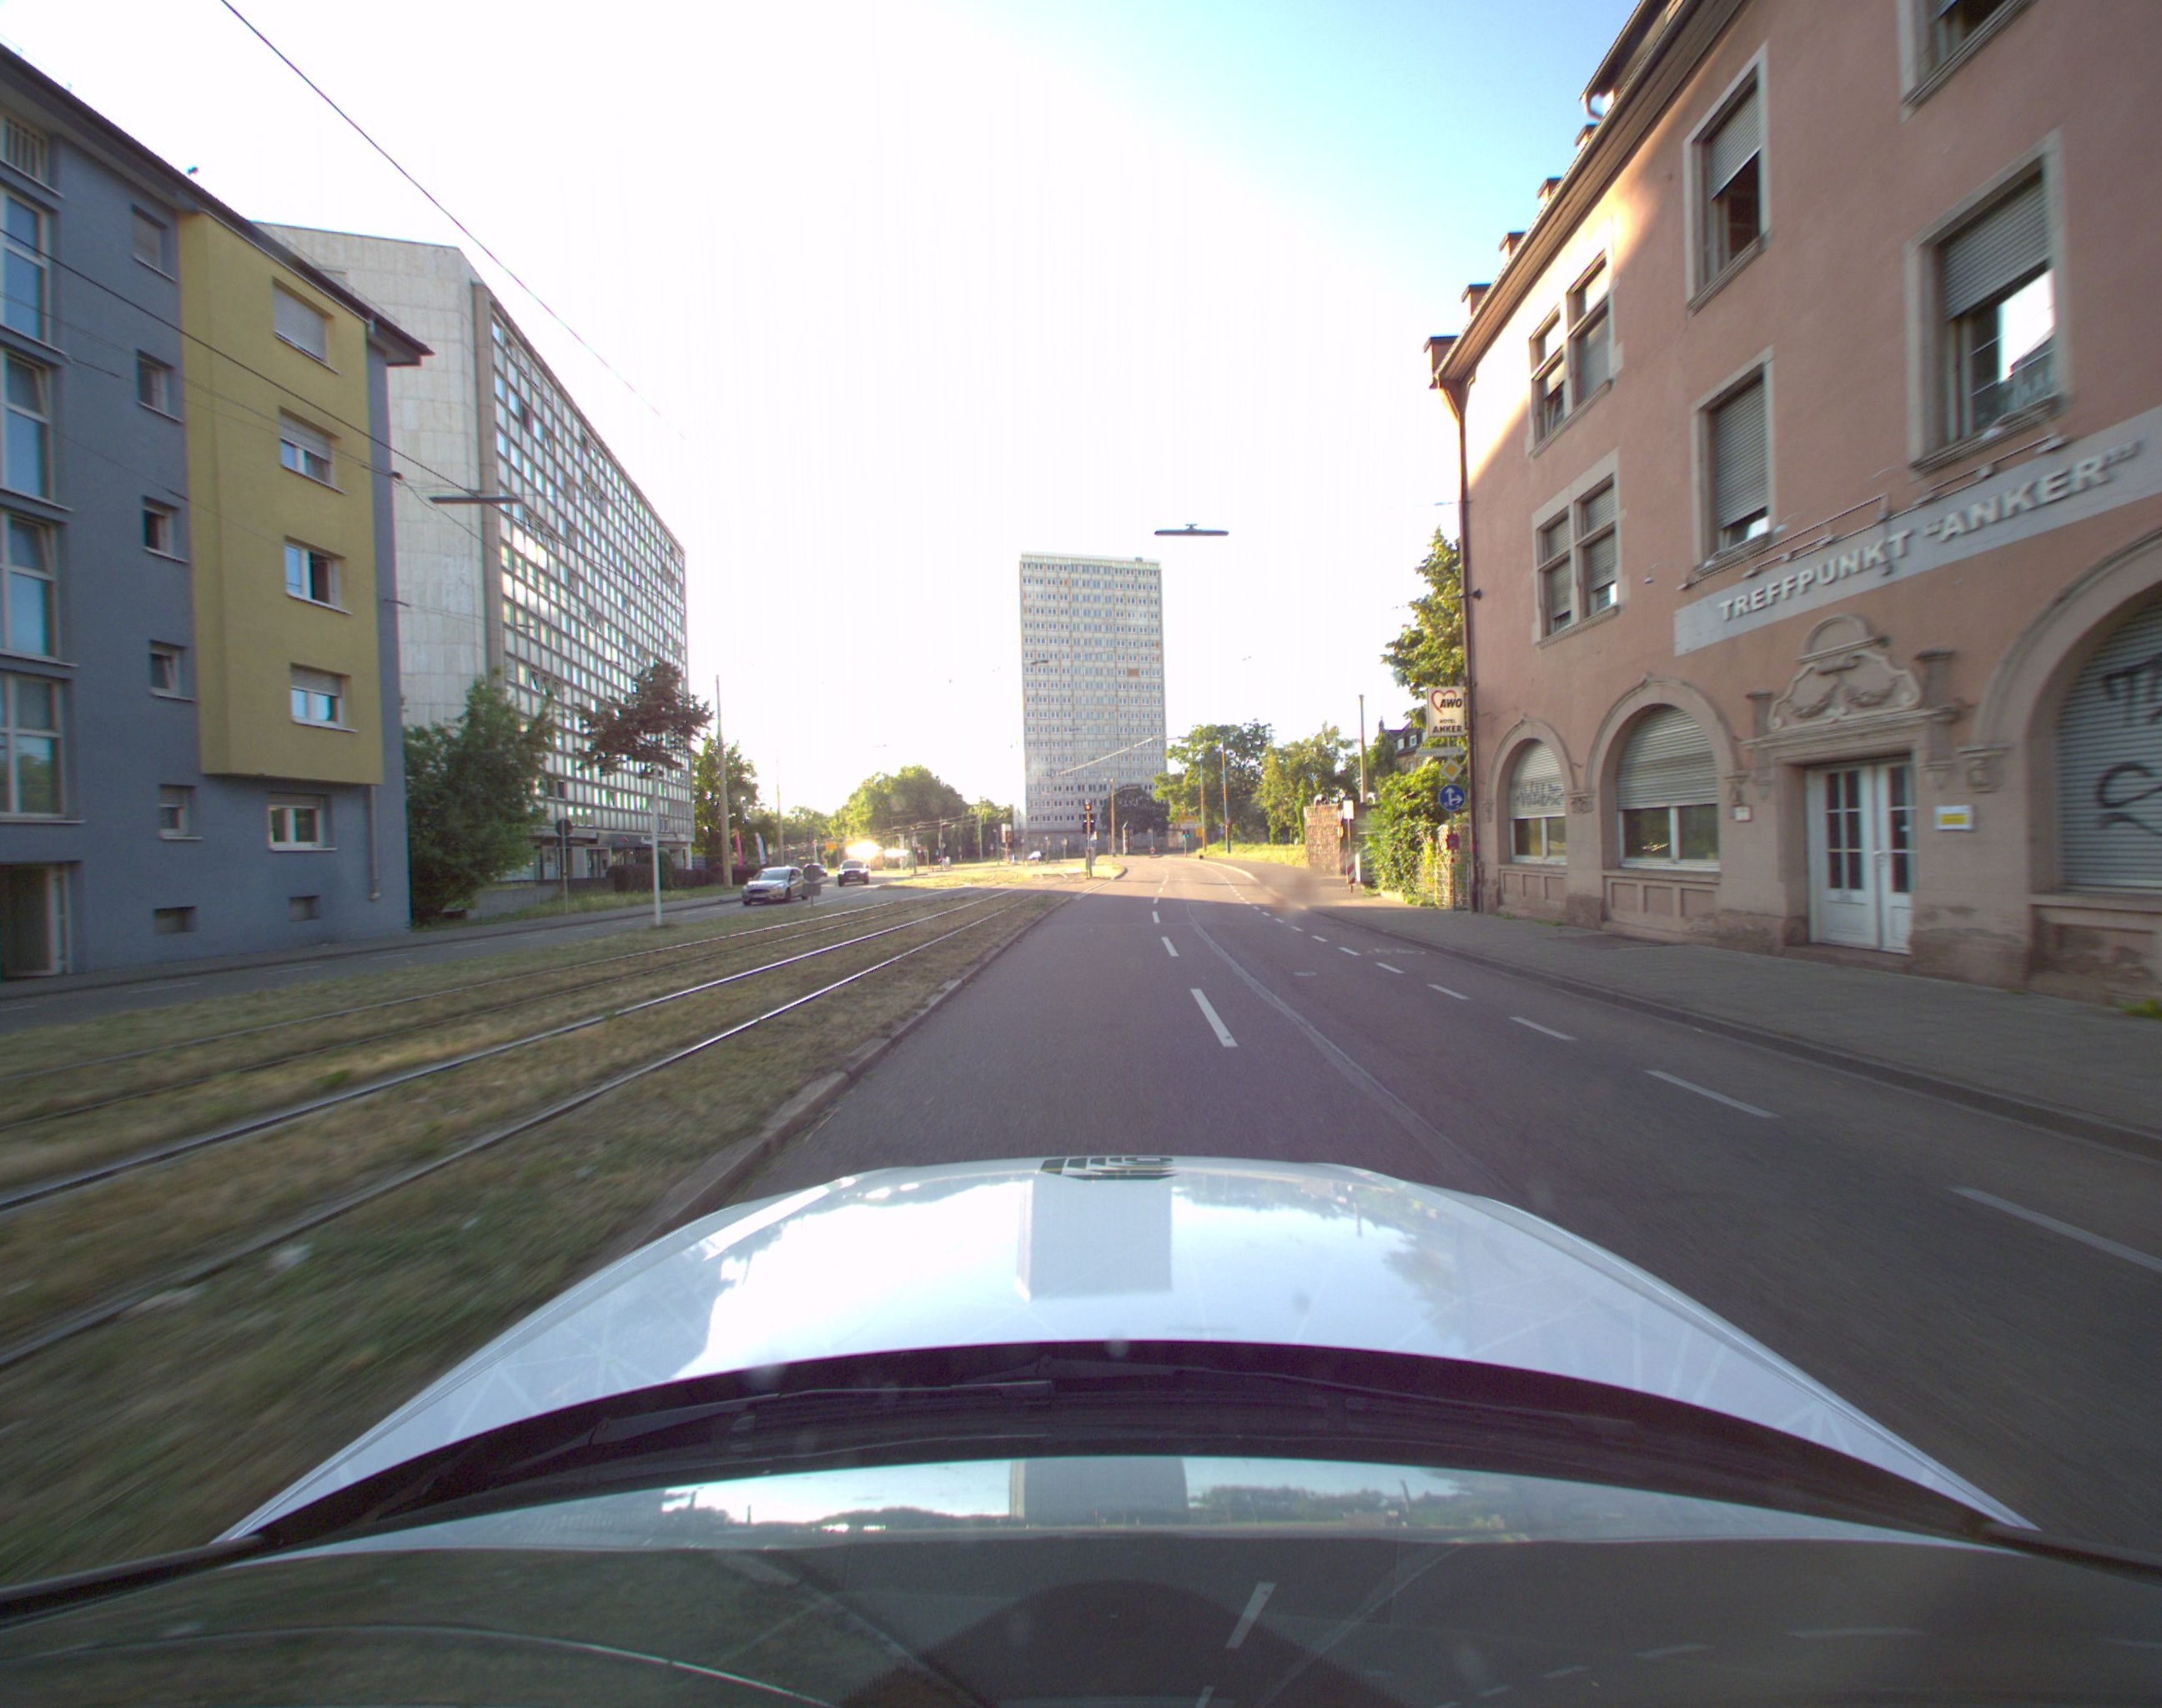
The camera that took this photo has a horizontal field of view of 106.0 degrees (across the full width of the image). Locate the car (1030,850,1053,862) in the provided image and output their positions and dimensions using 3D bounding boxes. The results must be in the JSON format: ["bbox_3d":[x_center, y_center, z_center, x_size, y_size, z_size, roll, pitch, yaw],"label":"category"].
[{"bbox_3d":[-5.480,0.279,112.306,1.782,1.422,3.822,-3,1,-26],"label":"car"}]

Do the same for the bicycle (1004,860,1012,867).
[{"bbox_3d":[-9.718,1.246,108.459,0.550,0.917,1.746,-4,1,5],"label":"bicycle"}]

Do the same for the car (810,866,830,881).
[{"bbox_3d":[-28.378,2.081,88.407,1.783,1.482,4.367,-2,0,-22],"label":"car"}]

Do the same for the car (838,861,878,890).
[{"bbox_3d":[-15.029,1.419,55.075,1.917,1.661,4.695,-4,1,-9],"label":"car"}]

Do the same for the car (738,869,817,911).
[{"bbox_3d":[-12.641,1.464,34.215,1.693,1.460,4.313,-4,0,-1],"label":"car"}]
